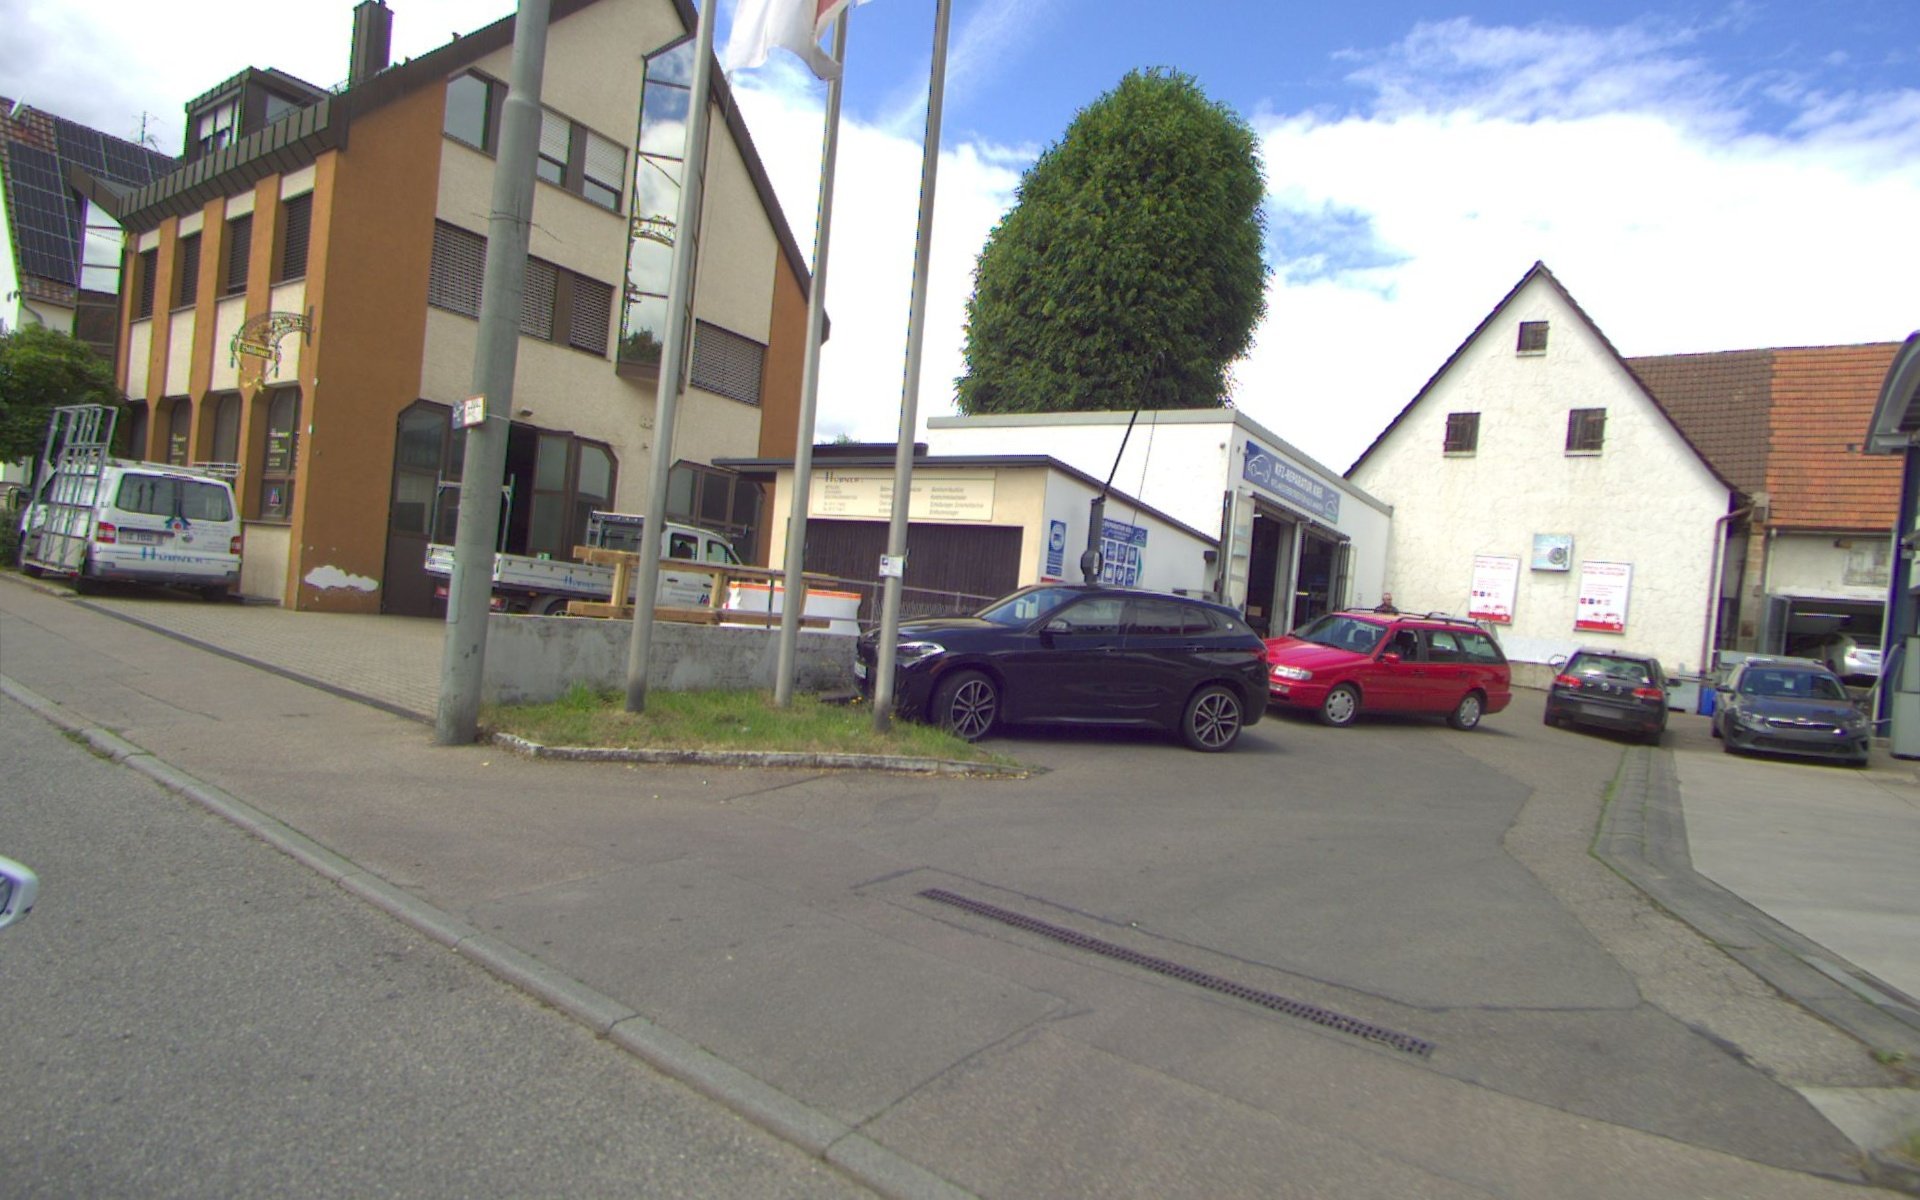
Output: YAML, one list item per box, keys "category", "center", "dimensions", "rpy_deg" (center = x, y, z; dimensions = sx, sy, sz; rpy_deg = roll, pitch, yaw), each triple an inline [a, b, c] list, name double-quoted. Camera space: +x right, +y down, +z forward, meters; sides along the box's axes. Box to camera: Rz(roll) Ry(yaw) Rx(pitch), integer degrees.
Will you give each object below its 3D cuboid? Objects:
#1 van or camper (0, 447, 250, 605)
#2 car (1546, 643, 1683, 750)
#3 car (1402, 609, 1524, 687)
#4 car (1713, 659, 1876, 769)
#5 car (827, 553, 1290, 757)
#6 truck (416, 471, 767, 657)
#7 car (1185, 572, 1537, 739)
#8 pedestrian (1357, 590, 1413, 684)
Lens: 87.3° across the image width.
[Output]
- category: "van or camper"
  center: [-13.498, -1.209, 16.131]
  dimensions: [4.476, 2.056, 1.868]
  rpy_deg: [6, -1, 34]
- category: "car"
  center: [11.899, 1.646, 18.183]
  dimensions: [1.596, 1.461, 3.737]
  rpy_deg: [11, 5, 37]
- category: "car"
  center: [12.841, 1.250, 25.569]
  dimensions: [1.671, 1.583, 3.979]
  rpy_deg: [10, 2, 41]
- category: "car"
  center: [13.894, 1.807, 16.951]
  dimensions: [1.688, 1.478, 3.741]
  rpy_deg: [3, 0, 34]
- category: "car"
  center: [0.966, 0.556, 10.143]
  dimensions: [4.255, 1.653, 1.627]
  rpy_deg: [4, 3, -20]
- category: "truck"
  center: [-6.120, -0.484, 17.367]
  dimensions: [2.320, 2.488, 5.088]
  rpy_deg: [8, 1, 35]
- category: "car"
  center: [5.607, 0.800, 13.989]
  dimensions: [4.552, 1.741, 1.810]
  rpy_deg: [6, 5, -28]
- category: "pedestrian"
  center: [8.875, 0.774, 21.014]
  dimensions: [0.662, 1.867, 0.684]
  rpy_deg: [6, -1, -5]
